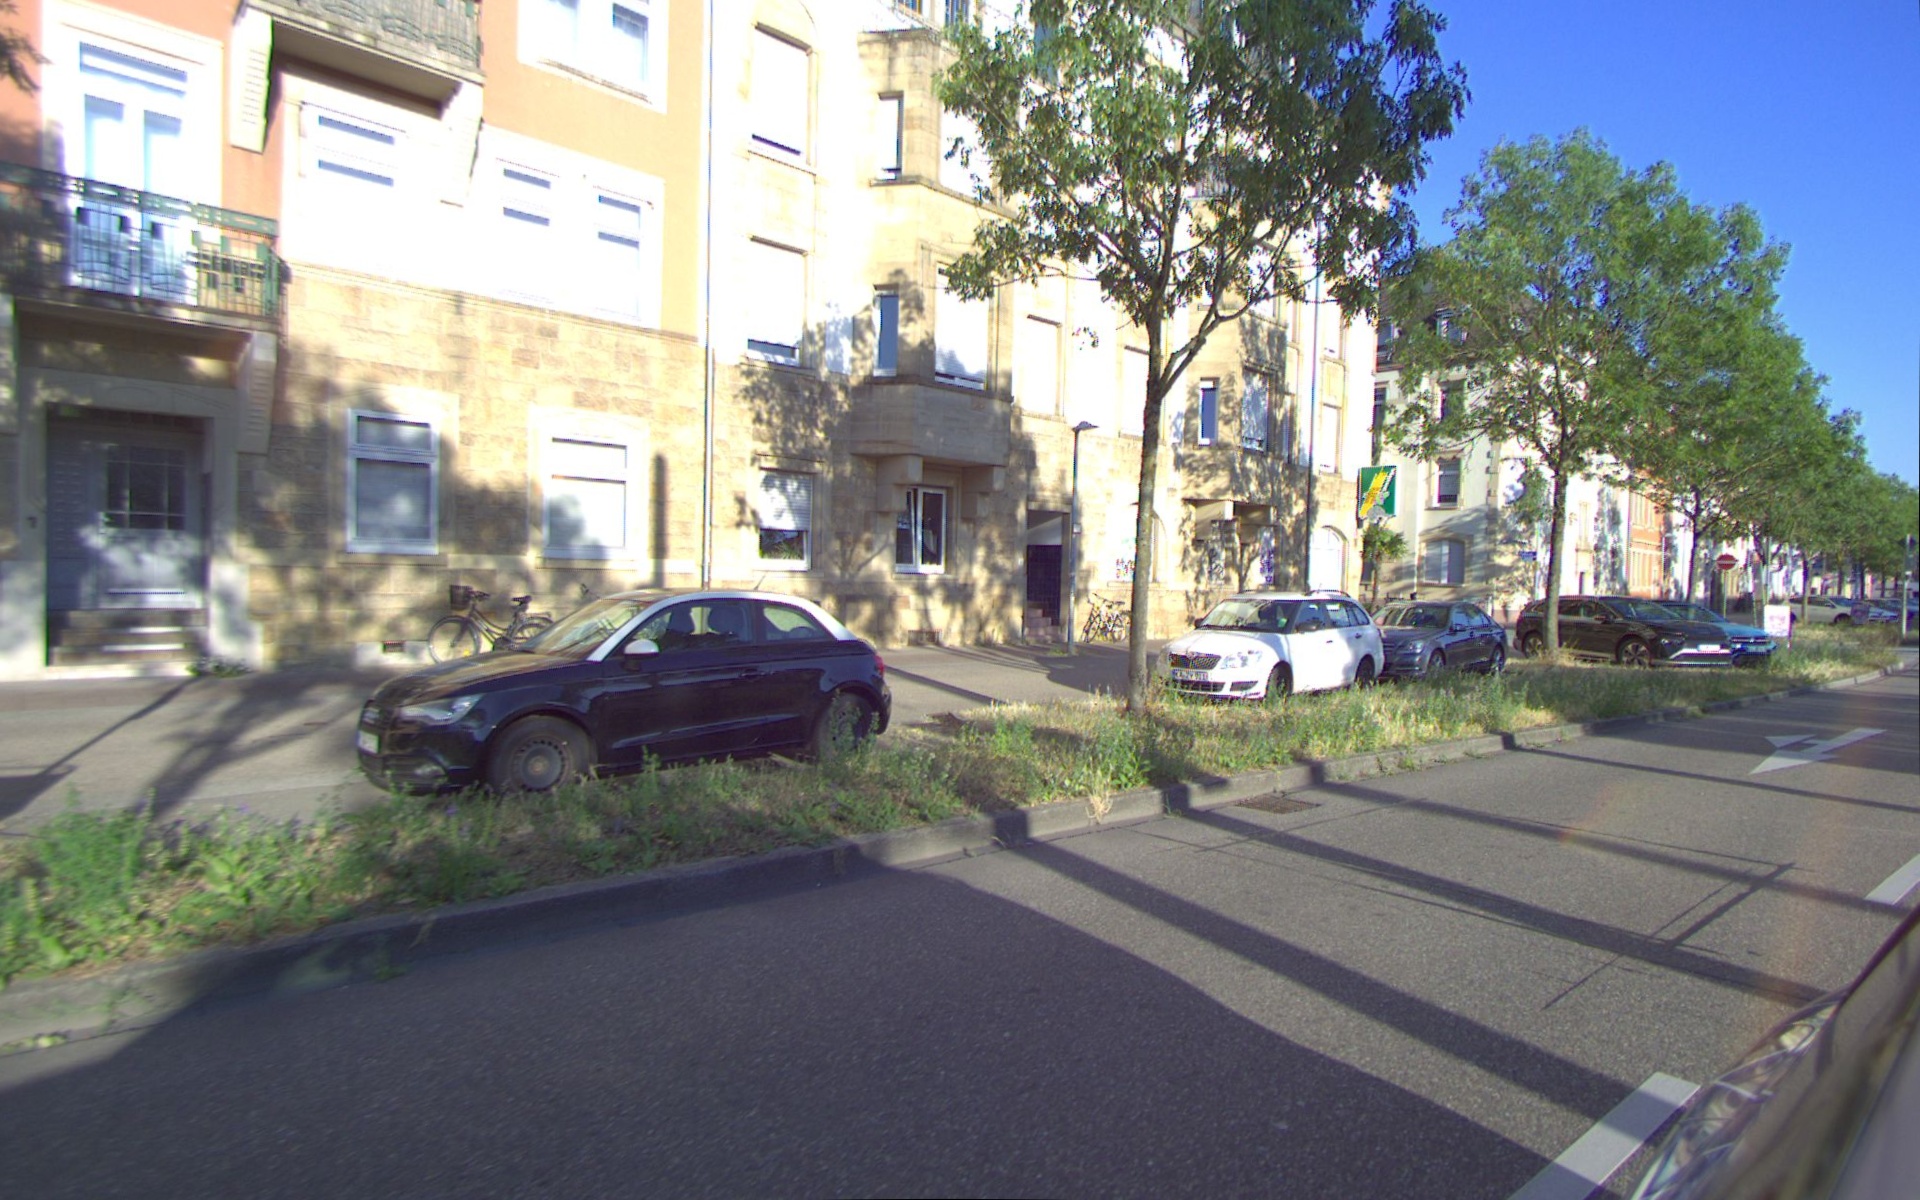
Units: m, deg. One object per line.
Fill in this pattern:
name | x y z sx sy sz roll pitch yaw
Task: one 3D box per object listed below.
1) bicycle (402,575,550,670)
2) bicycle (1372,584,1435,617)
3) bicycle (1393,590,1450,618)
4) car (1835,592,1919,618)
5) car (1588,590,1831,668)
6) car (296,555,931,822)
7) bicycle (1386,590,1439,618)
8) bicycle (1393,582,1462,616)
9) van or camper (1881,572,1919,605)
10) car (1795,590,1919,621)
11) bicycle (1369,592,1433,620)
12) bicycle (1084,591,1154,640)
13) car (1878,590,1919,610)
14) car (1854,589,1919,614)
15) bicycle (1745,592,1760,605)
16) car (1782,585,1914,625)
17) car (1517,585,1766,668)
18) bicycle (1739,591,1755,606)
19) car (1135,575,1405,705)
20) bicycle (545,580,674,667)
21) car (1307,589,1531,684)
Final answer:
bicycle | -6.547 0.287 13.740 1.717 1.178 0.484 0 7 -43
bicycle | 18.887 0.002 43.140 2.350 1.336 0.719 3 2 44
bicycle | 20.118 0.152 44.133 2.205 1.119 0.530 3 2 44
car | 54.679 0.284 59.576 1.857 1.365 4.592 1 2 -10
car | 16.673 0.577 22.836 1.809 1.541 4.295 1 1 -10
car | -2.370 0.494 7.636 4.215 1.467 1.705 0 -1 -43
bicycle | 19.569 0.162 43.790 1.972 1.138 0.566 3 2 44
bicycle | 20.668 -0.053 44.810 2.665 1.401 0.719 3 2 44
van or camper | 82.720 -0.956 86.463 2.158 2.847 5.663 1 1 -11
car | 45.354 0.243 51.192 1.988 1.417 4.565 0 2 -12
bicycle | 18.474 0.232 42.435 2.328 1.063 0.719 3 2 44
bicycle | 3.711 0.346 23.533 1.865 1.086 0.573 0 2 -43
car | 71.330 -0.028 75.428 1.691 1.455 4.061 0 1 -15
car | 61.773 0.094 66.325 1.810 1.528 4.654 1 1 -7
bicycle | 60.867 -0.105 77.729 1.896 1.003 0.579 0 2 -44
car | 41.133 0.192 47.035 1.877 1.712 4.440 1 1 -8
car | 14.436 0.531 21.782 1.960 1.591 4.348 1 0 -10
bicycle | 59.356 -0.142 76.278 2.191 1.092 0.588 0 3 -44
car | 4.404 0.479 14.016 4.201 1.531 1.727 0 -1 -44
bicycle | -5.182 0.327 15.018 1.717 1.178 0.484 0 7 -43
car | 8.223 0.561 17.902 4.826 1.463 1.946 0 -1 -44
